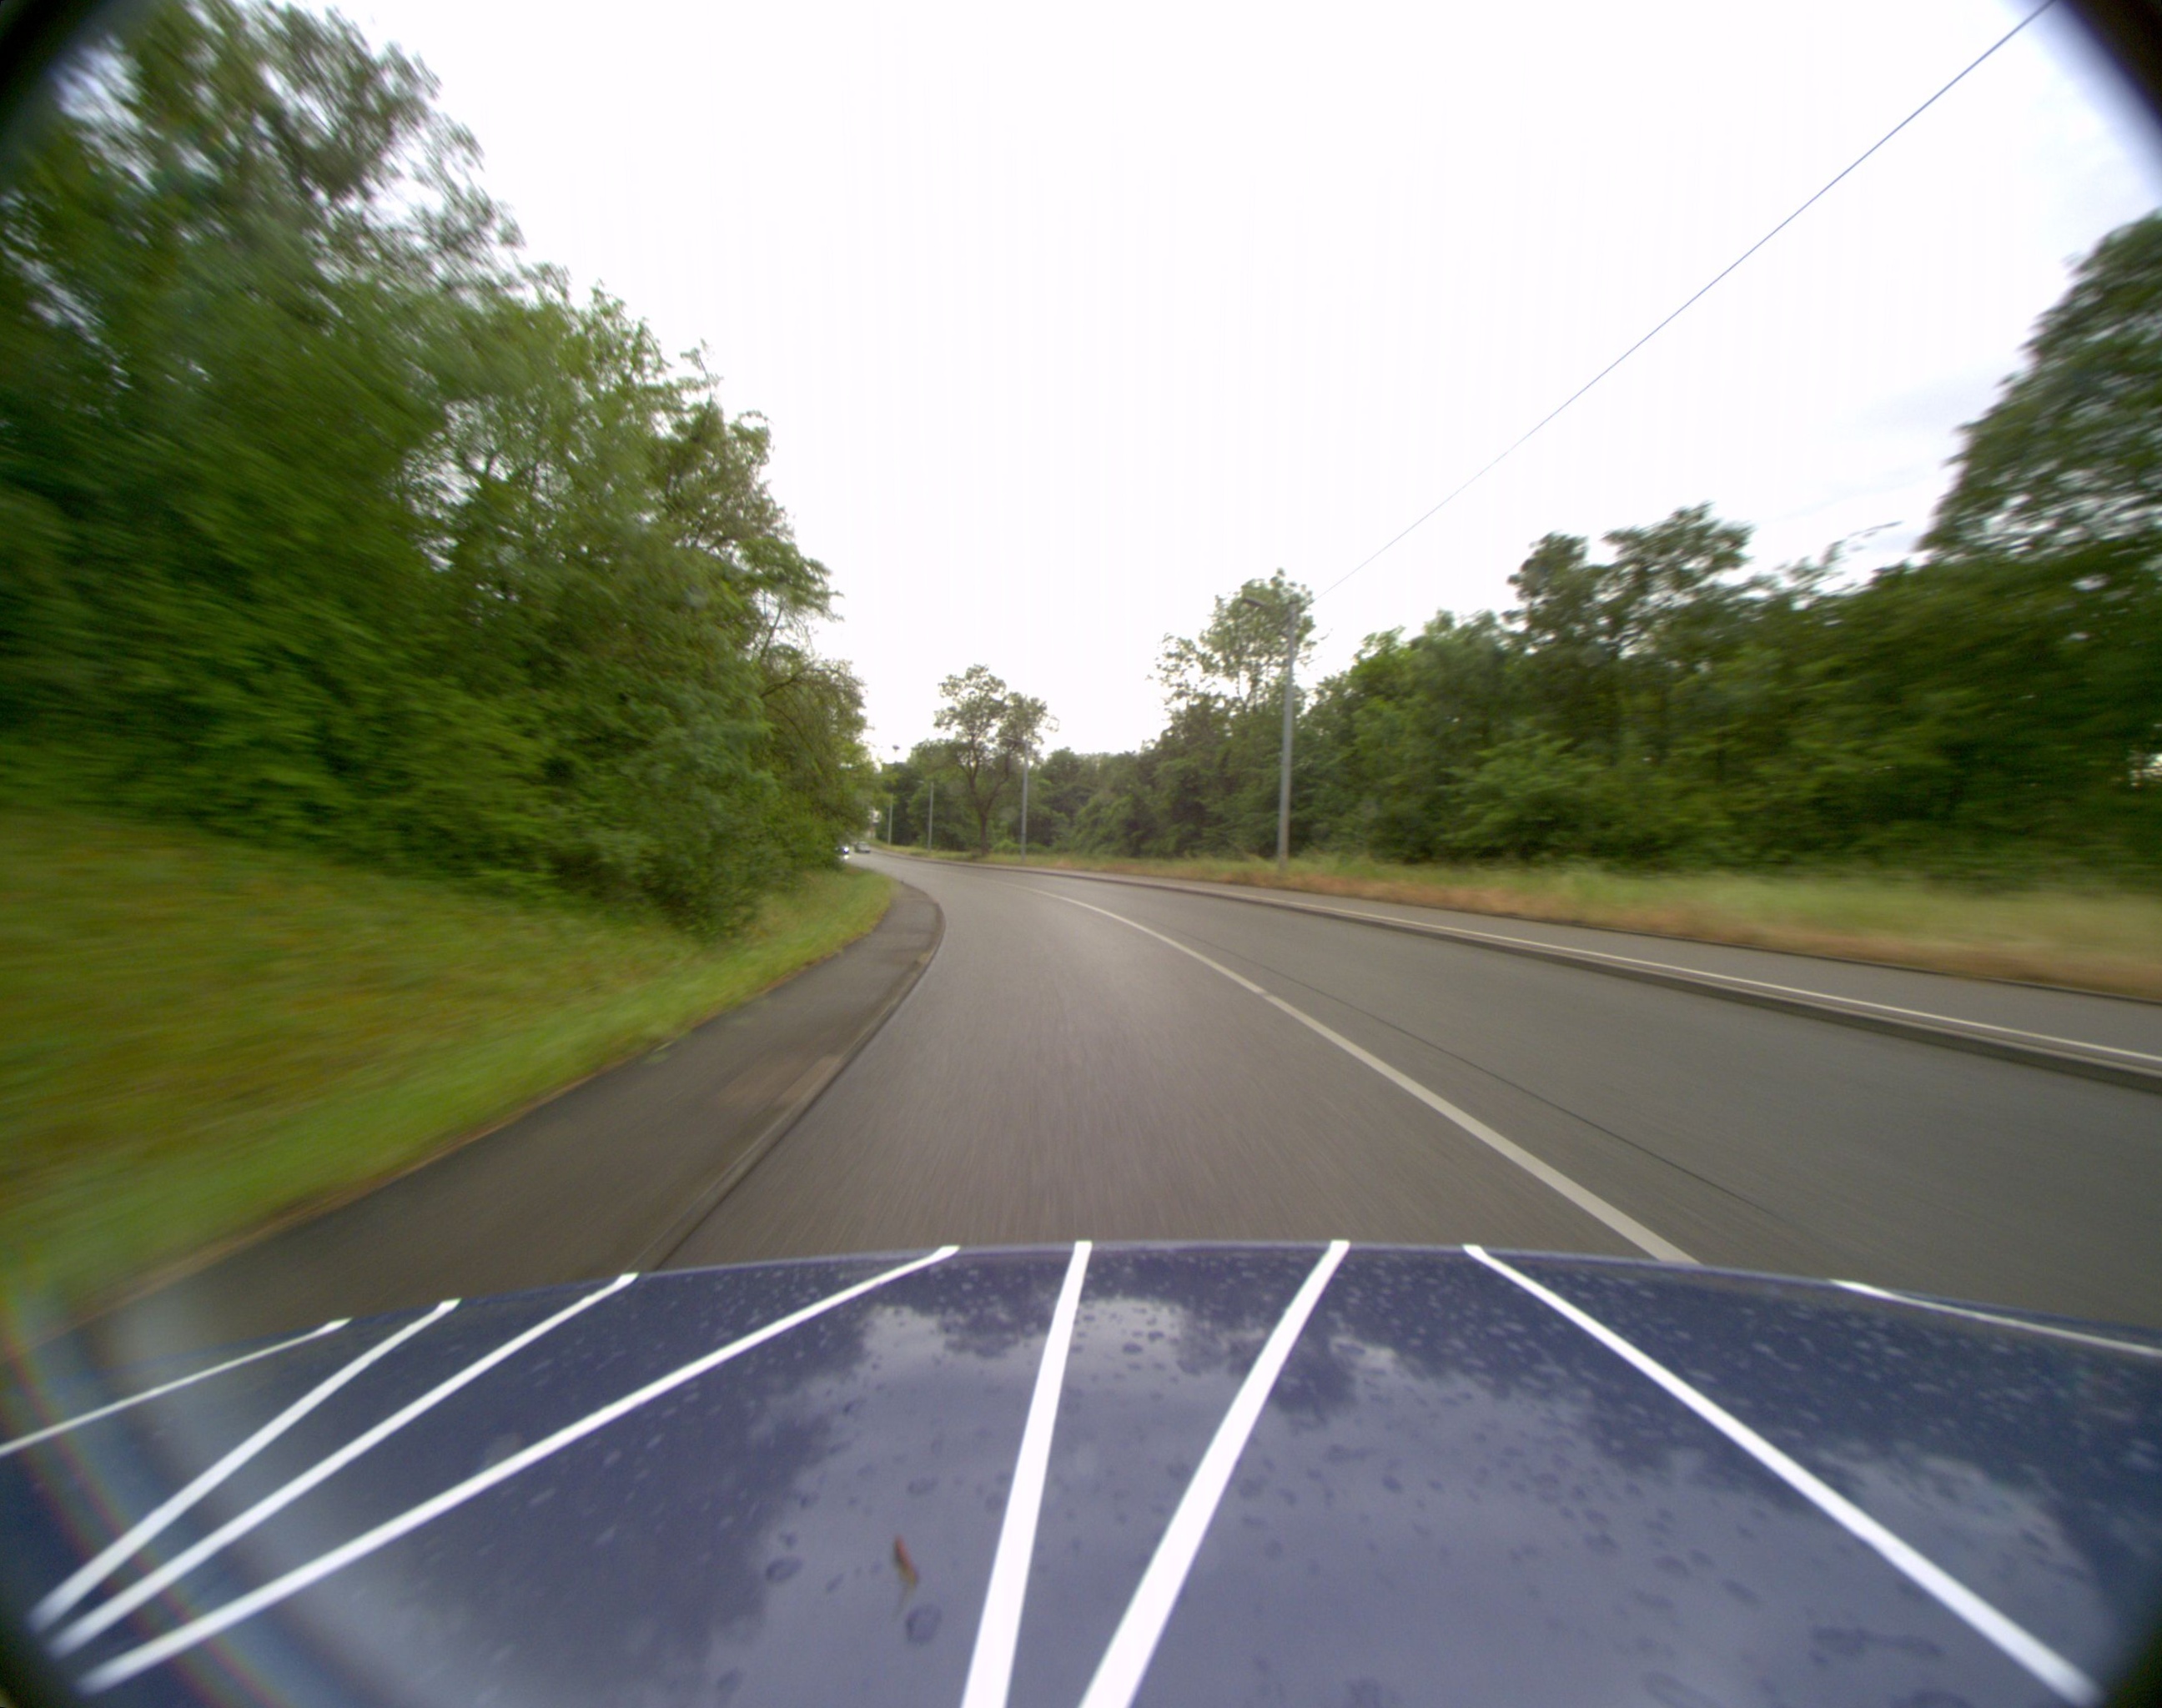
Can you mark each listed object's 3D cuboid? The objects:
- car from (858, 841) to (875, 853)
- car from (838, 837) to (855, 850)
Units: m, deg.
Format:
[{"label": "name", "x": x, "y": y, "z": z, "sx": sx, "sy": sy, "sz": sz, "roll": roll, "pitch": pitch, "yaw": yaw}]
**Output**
[{"label": "car", "x": -29.704, "y": -0.976, "z": 105.118, "sx": 1.822, "sy": 1.611, "sz": 3.992, "roll": 0, "pitch": 1, "yaw": -22}, {"label": "car", "x": -29.679, "y": -1.273, "z": 96.094, "sx": 1.822, "sy": 1.611, "sz": 3.992, "roll": 0, "pitch": 1, "yaw": -22}]
